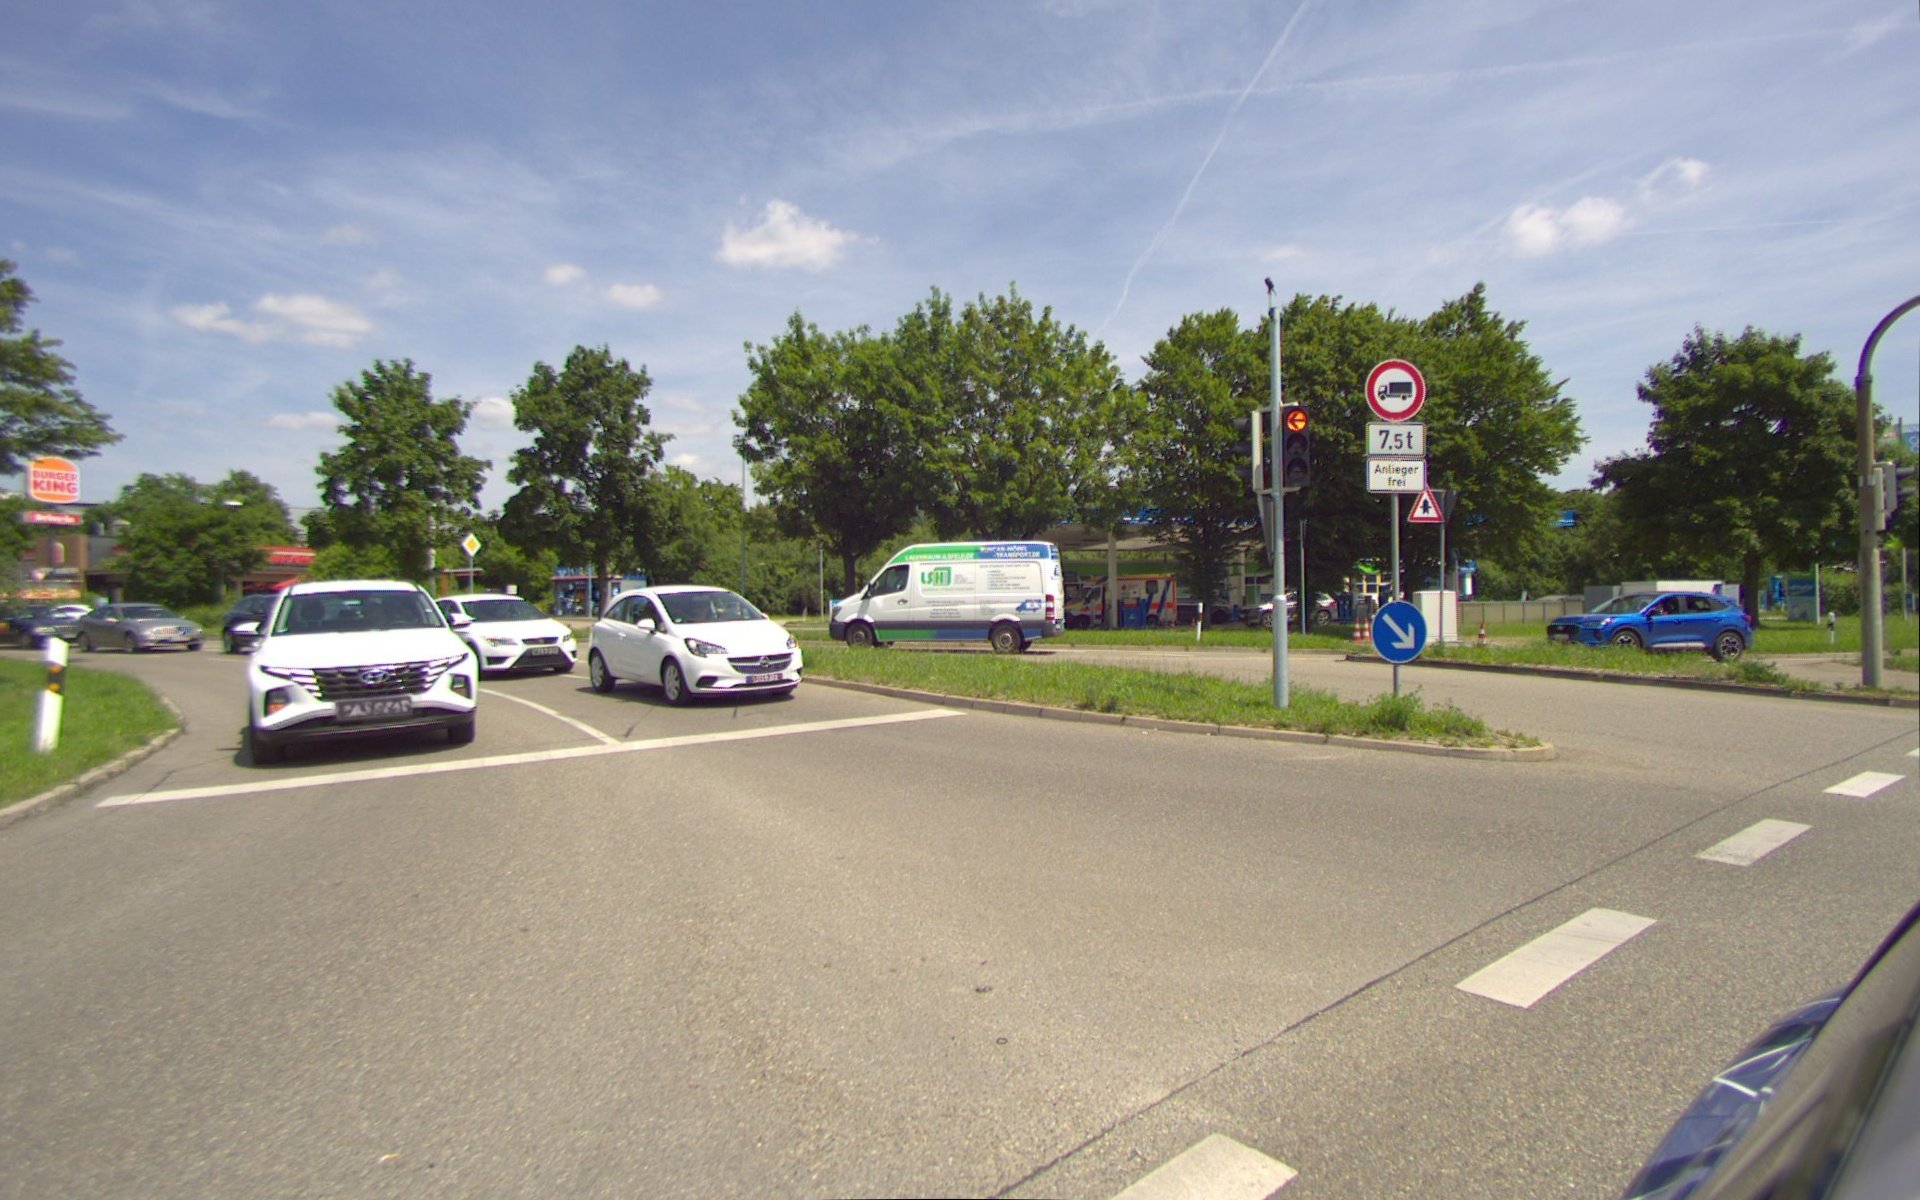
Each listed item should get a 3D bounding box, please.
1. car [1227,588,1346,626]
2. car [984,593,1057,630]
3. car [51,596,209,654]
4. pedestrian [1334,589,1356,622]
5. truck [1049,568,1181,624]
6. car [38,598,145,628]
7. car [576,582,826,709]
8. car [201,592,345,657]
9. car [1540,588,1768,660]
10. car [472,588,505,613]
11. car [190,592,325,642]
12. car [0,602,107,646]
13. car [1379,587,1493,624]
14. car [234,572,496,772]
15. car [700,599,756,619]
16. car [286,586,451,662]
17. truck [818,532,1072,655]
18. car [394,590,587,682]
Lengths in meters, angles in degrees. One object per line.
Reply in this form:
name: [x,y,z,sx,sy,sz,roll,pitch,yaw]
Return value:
car: [15.121,0.310,46.967,4.839,1.623,2.042,-1,1,-8]
car: [3.447,0.643,57.890,3.782,2.039,1.716,0,1,-14]
car: [-24.041,0.699,29.287,4.514,1.529,1.786,-1,1,25]
pedestrian: [17.929,0.266,47.172,0.707,1.515,0.668,-1,1,-8]
truck: [7.601,-0.207,49.984,6.022,2.651,2.266,0,0,-9]
car: [-50.593,0.726,59.095,4.410,1.578,1.880,-2,1,-28]
car: [-3.656,0.520,13.815,1.796,1.437,3.968,-2,1,-39]
car: [-18.034,0.632,26.493,4.536,1.529,1.777,-2,0,38]
car: [16.269,0.536,23.816,4.298,1.578,1.787,0,0,-7]
car: [-37.468,0.028,80.332,1.804,1.861,4.001,0,1,-34]
car: [-25.721,0.588,37.058,4.471,1.713,1.855,0,1,21]
car: [-29.911,0.750,32.556,4.505,1.289,1.789,-1,1,20]
car: [22.617,0.246,48.163,4.535,1.641,2.003,-1,1,-8]
car: [-6.467,0.590,10.774,1.961,1.627,4.640,-2,0,-35]
car: [-16.916,0.641,73.755,3.808,1.397,1.710,0,0,30]
car: [-13.552,0.516,23.080,4.539,1.529,1.776,-1,1,39]
truck: [-0.324,-0.151,24.681,5.856,2.772,2.064,0,-1,15]
car: [-8.625,0.563,18.445,4.090,1.436,1.774,1,2,43]
